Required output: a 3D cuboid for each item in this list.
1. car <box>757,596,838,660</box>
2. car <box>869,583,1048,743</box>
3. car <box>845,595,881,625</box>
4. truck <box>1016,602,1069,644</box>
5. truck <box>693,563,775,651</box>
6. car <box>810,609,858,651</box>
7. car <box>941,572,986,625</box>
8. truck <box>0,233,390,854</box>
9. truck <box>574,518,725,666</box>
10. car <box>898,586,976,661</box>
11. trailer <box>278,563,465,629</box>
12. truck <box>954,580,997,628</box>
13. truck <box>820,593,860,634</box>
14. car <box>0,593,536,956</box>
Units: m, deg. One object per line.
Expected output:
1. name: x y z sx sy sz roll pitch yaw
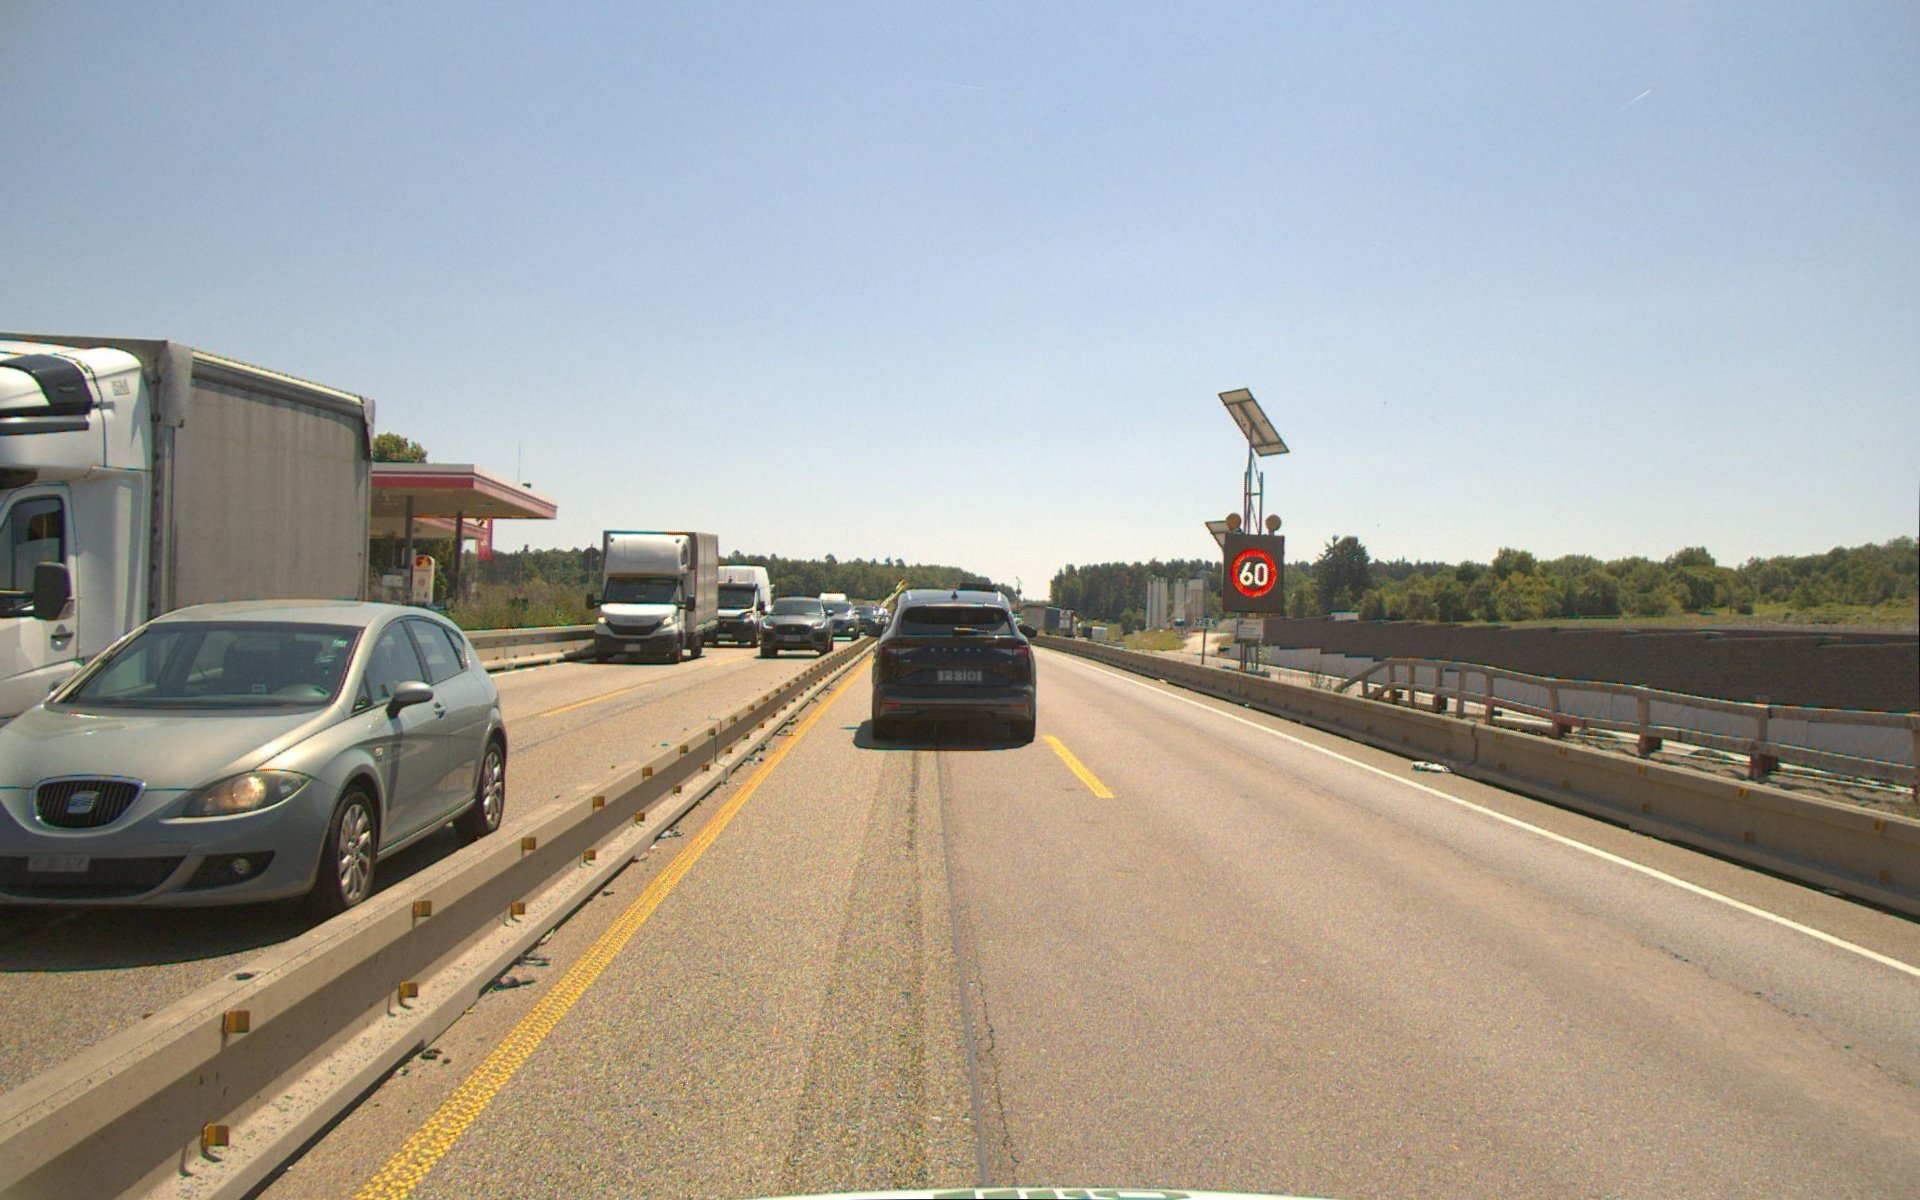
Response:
1. car: -4.515 0.750 46.543 1.902 1.687 4.744 0 0 -1
2. car: -0.029 0.647 19.125 1.805 1.609 4.000 2 0 -1
3. car: -5.483 0.551 94.008 1.807 1.670 3.999 1 0 -1
4. truck: 10.027 2.787 198.602 3.405 4.292 10.379 6 -1 18
5. truck: -7.757 0.235 57.386 2.194 2.835 6.489 1 0 -3
6. car: -5.308 1.253 69.719 1.900 1.639 3.996 1 0 -4
7. car: 0.412 -0.082 146.572 3.366 4.171 9.198 6 -1 2
8. truck: -6.589 -0.342 12.033 2.341 3.444 7.712 2 0 -2
9. truck: -7.729 -0.206 42.200 2.445 3.349 8.114 2 0 -2
10. car: -0.682 0.648 45.920 1.954 1.876 3.998 3 -1 -2
11. trailer: -40.346 -0.160 114.372 3.088 4.183 14.151 0 -1 25
12. truck: 0.964 0.255 106.612 2.618 2.997 5.620 1 0 0
13. truck: -8.754 0.938 121.160 2.429 2.873 8.127 1 0 -1
14. car: -3.554 0.696 8.757 1.648 1.454 4.200 1 0 -2
